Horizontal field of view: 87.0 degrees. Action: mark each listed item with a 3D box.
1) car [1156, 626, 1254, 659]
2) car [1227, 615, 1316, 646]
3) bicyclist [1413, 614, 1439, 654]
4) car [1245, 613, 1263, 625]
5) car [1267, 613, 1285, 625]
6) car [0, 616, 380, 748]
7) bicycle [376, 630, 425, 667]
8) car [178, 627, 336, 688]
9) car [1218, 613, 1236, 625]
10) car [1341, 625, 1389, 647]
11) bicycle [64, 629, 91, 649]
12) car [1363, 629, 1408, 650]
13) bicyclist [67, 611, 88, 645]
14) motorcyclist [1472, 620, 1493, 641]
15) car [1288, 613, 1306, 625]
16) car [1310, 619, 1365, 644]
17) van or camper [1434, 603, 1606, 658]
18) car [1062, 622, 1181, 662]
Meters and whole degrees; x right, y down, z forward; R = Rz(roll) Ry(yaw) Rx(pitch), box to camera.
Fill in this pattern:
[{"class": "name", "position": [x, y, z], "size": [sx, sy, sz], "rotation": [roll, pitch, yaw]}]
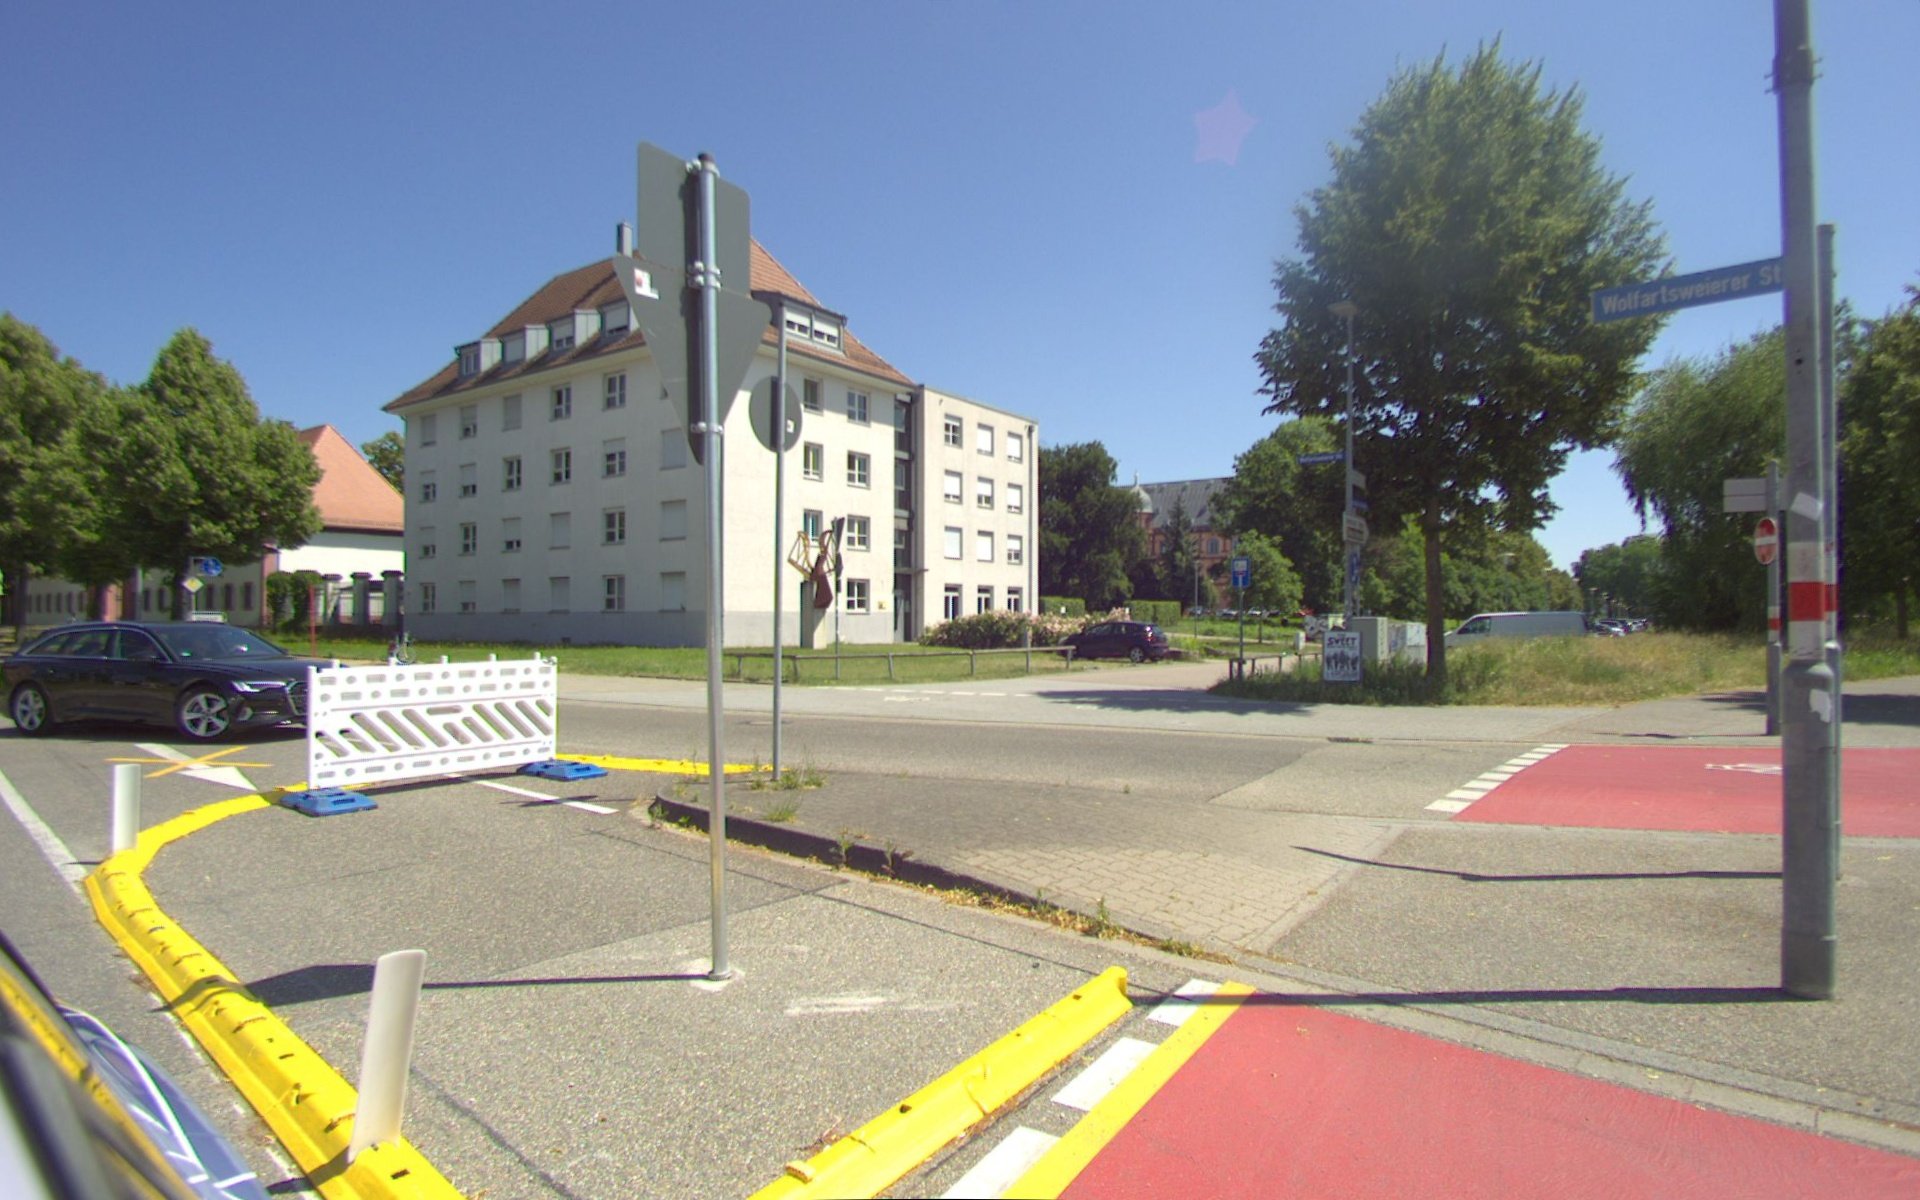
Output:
[{"class": "car", "position": [9.639, 1.659, 39.940], "size": [3.507, 1.227, 1.340], "rotation": [-1, -2, 37]}, {"class": "car", "position": [15.122, 1.471, 49.197], "size": [3.801, 1.336, 1.639], "rotation": [1, 1, 37]}, {"class": "bicyclist", "position": [19.761, 1.416, 42.889], "size": [0.715, 1.650, 0.961], "rotation": [1, 0, 42]}, {"class": "car", "position": [37.135, 2.397, 127.860], "size": [1.474, 1.427, 2.995], "rotation": [-1, -1, 31]}, {"class": "car", "position": [39.349, 2.363, 125.898], "size": [1.474, 1.427, 2.995], "rotation": [-1, -1, 31]}, {"class": "car", "position": [-9.962, 0.977, 12.926], "size": [4.578, 1.462, 1.792], "rotation": [-1, -1, 17]}, {"class": "bicycle", "position": [-17.487, 1.495, 31.592], "size": [1.985, 1.032, 0.700], "rotation": [-1, 1, 42]}, {"class": "car", "position": [-17.841, 1.421, 25.623], "size": [4.623, 1.414, 1.800], "rotation": [-1, -3, 35]}, {"class": "car", "position": [33.971, 2.440, 128.783], "size": [1.474, 1.427, 2.995], "rotation": [-1, -1, 31]}, {"class": "car", "position": [25.087, 2.216, 62.662], "size": [2.529, 1.368, 1.068], "rotation": [-1, -2, 43]}, {"class": "bicycle", "position": [-41.732, 1.847, 47.862], "size": [1.905, 0.922, 0.555], "rotation": [-1, -2, 37]}, {"class": "car", "position": [27.931, 2.574, 66.429], "size": [2.529, 1.368, 1.068], "rotation": [-1, -2, 43]}, {"class": "bicyclist", "position": [-41.806, 1.318, 47.934], "size": [0.739, 1.623, 0.561], "rotation": [-1, -2, 36]}, {"class": "motorcyclist", "position": [41.723, 2.427, 80.800], "size": [1.253, 1.621, 1.423], "rotation": [-1, -2, 37]}, {"class": "car", "position": [41.486, 2.328, 124.595], "size": [1.474, 1.427, 2.995], "rotation": [-1, -1, 31]}, {"class": "car", "position": [21.790, 1.808, 58.449], "size": [2.748, 1.367, 1.156], "rotation": [-1, -2, 43]}, {"class": "van or camper", "position": [20.287, 1.110, 36.777], "size": [5.261, 1.871, 1.976], "rotation": [-1, -2, 36]}, {"class": "car", "position": [5.610, 1.437, 35.296], "size": [3.801, 1.337, 1.639], "rotation": [-1, -2, 37]}]
